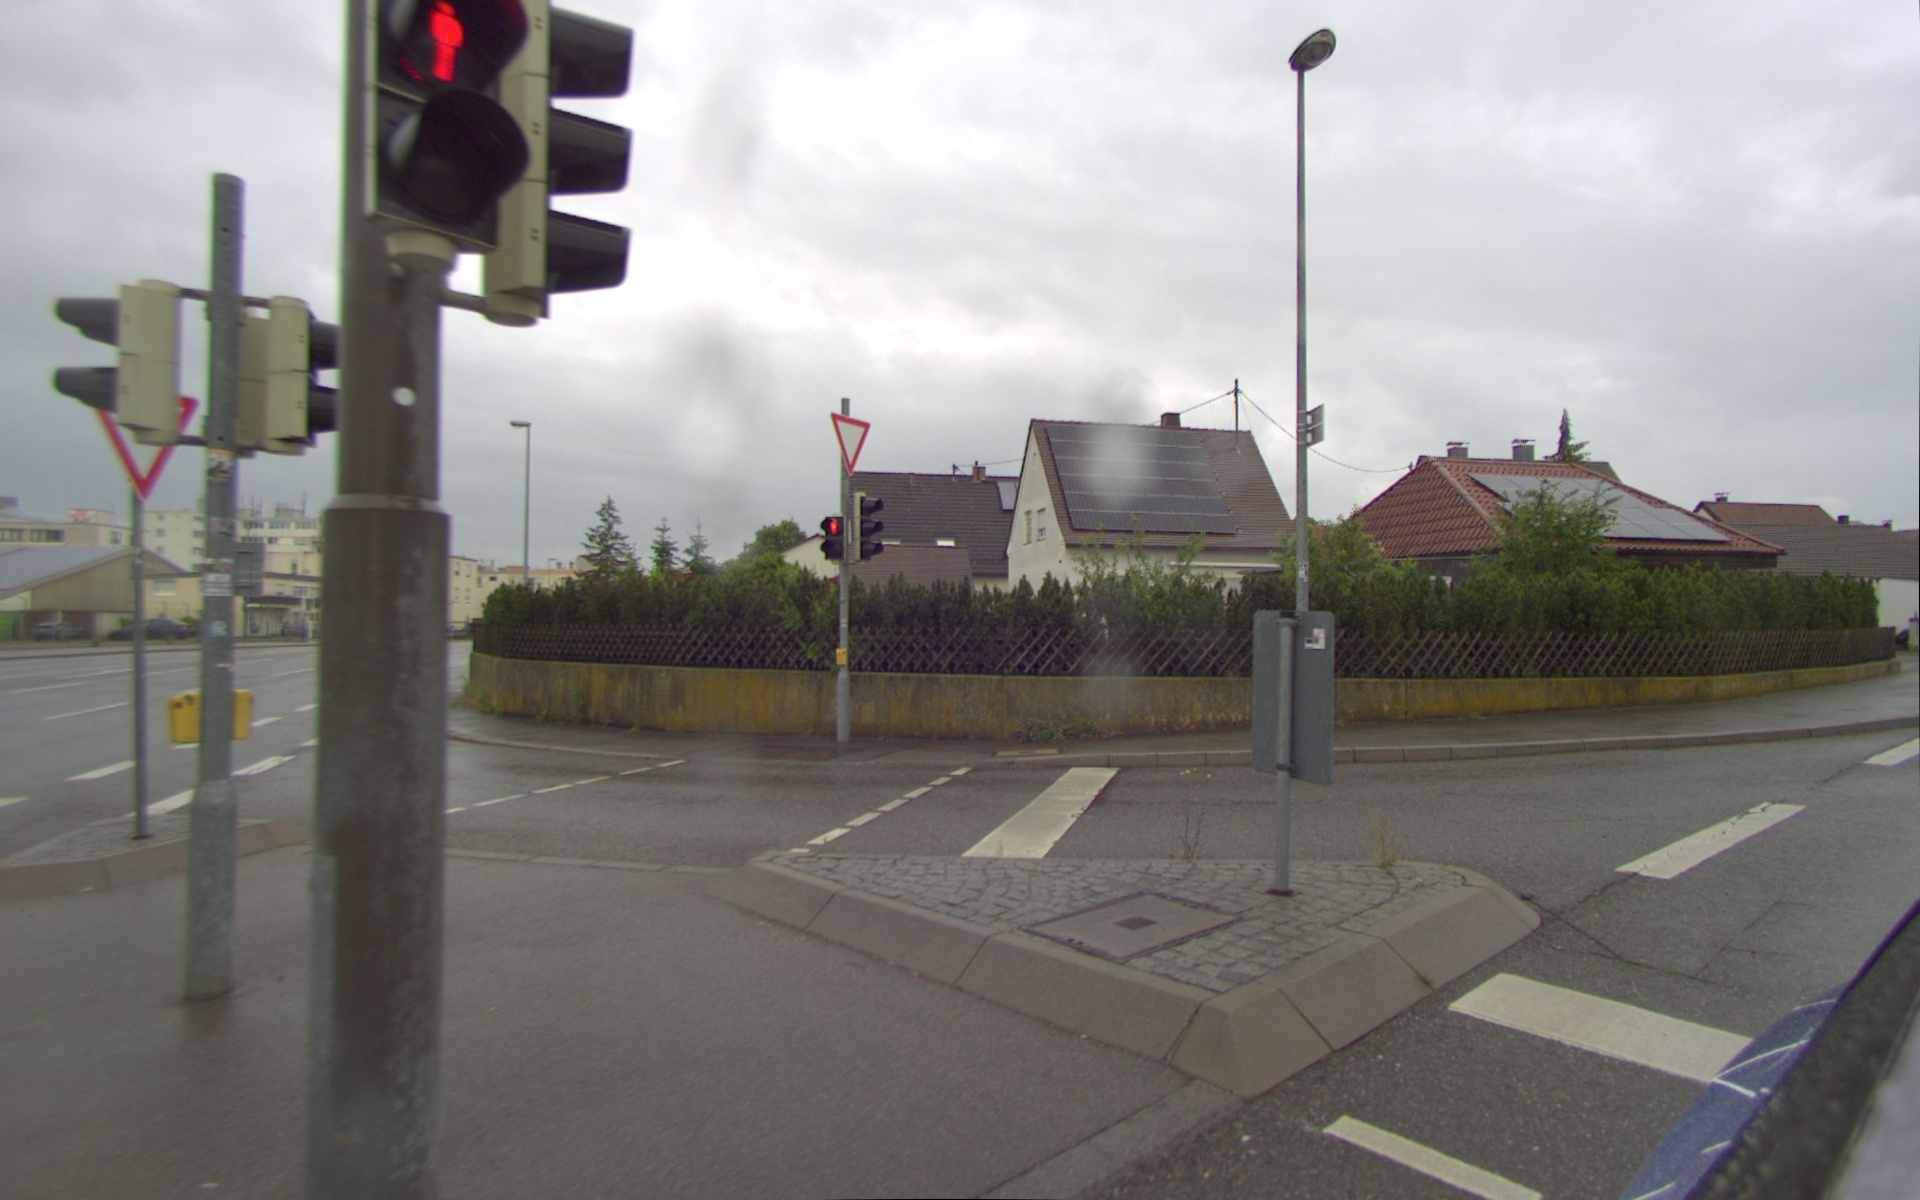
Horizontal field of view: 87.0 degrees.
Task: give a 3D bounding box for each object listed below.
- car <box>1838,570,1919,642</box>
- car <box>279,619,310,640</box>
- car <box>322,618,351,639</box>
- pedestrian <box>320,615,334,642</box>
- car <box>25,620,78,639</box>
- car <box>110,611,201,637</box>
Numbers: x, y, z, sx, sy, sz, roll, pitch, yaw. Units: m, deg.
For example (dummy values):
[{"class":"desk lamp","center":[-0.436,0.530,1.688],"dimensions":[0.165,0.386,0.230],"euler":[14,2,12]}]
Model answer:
[{"class":"car","center":[32.245,0.182,34.321],"dimensions":[3.917,2.380,1.657],"euler":[-1,0,-12]},{"class":"car","center":[-58.844,2.574,89.487],"dimensions":[1.960,1.750,4.004],"euler":[0,0,-29]},{"class":"car","center":[-55.634,2.561,90.375],"dimensions":[1.960,1.750,4.004],"euler":[0,0,-29]},{"class":"pedestrian","center":[-39.095,1.748,62.472],"dimensions":[0.684,1.686,0.677],"euler":[0,-1,-30]},{"class":"car","center":[-73.375,2.392,81.809],"dimensions":[1.700,1.438,3.652],"euler":[-1,0,-15]},{"class":"car","center":[-49.440,1.455,62.262],"dimensions":[3.917,1.471,2.003],"euler":[-1,0,-11]}]
